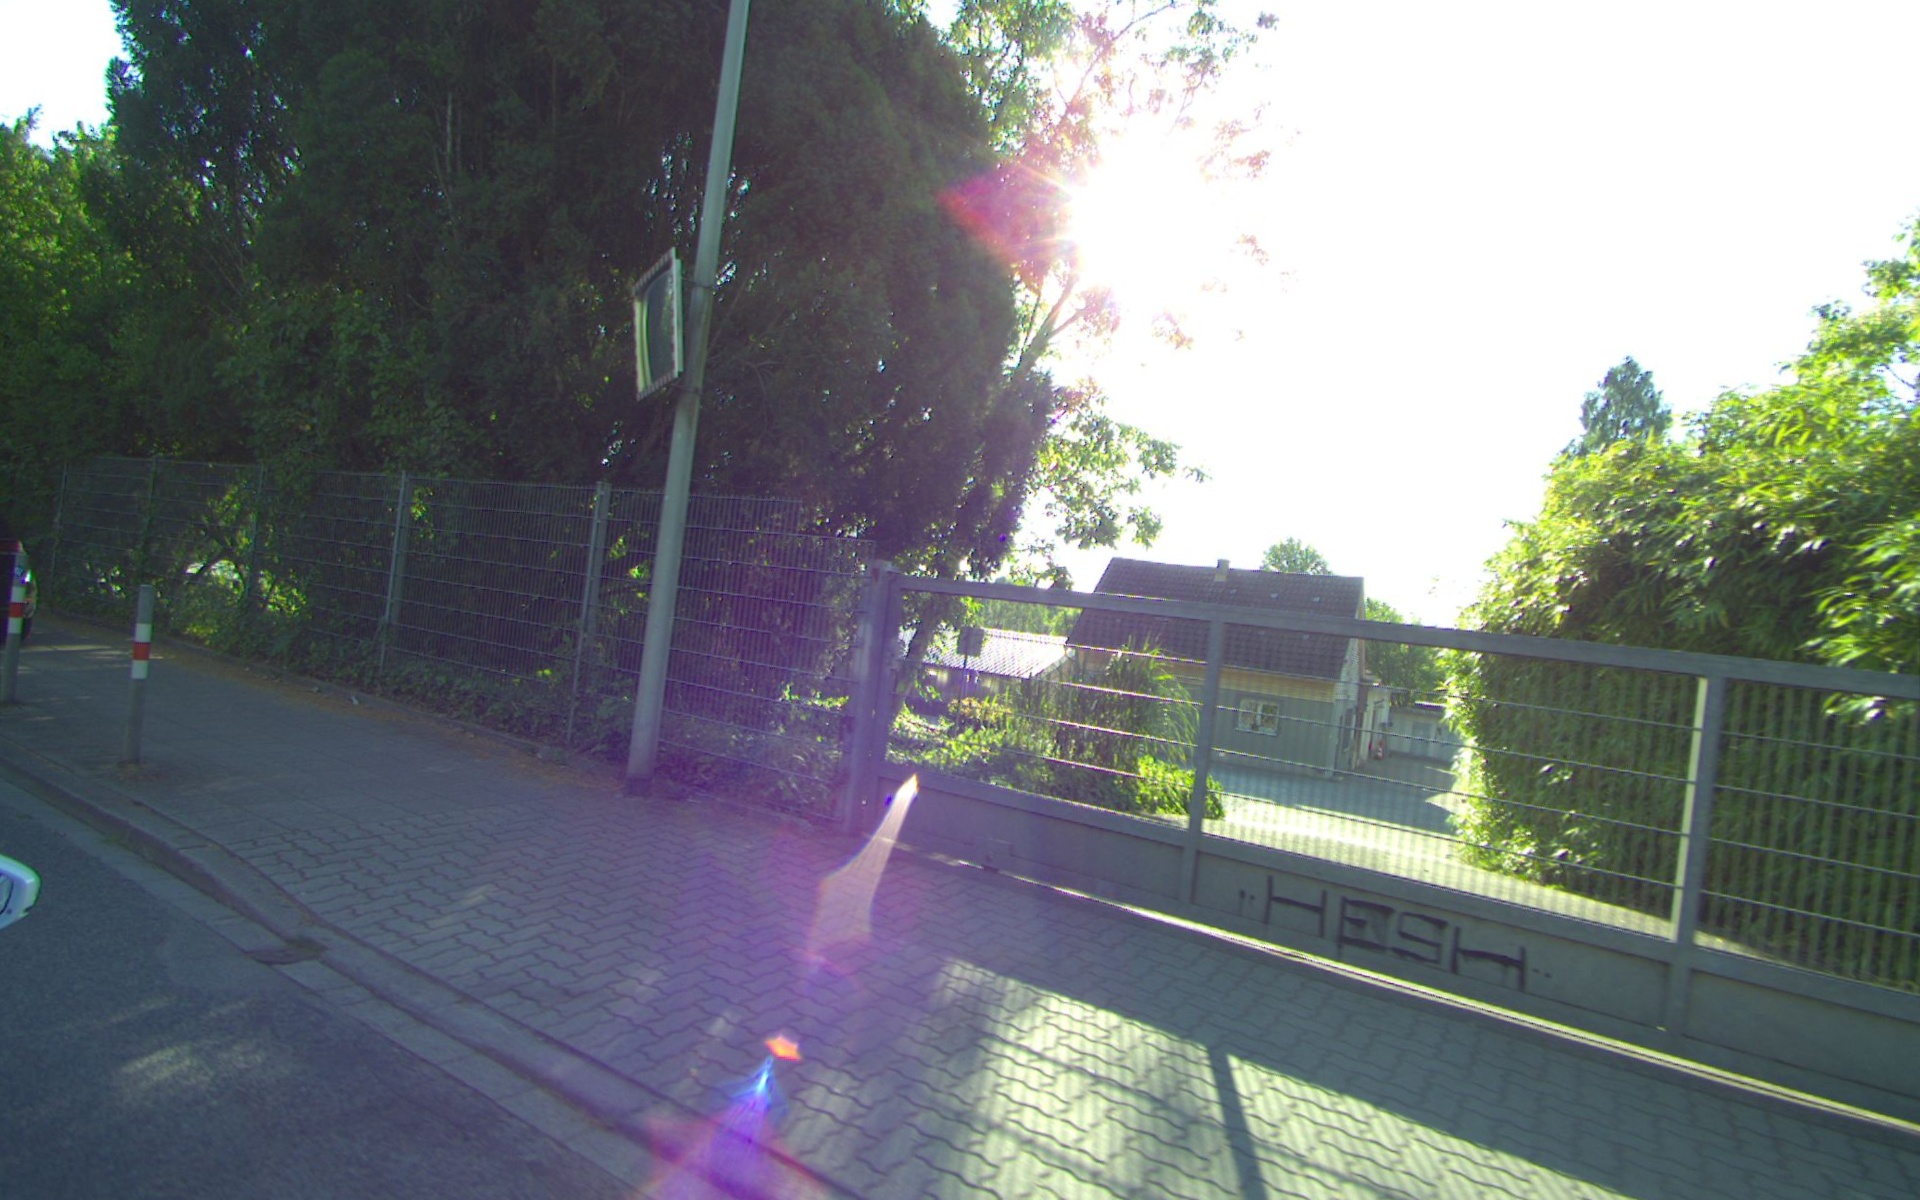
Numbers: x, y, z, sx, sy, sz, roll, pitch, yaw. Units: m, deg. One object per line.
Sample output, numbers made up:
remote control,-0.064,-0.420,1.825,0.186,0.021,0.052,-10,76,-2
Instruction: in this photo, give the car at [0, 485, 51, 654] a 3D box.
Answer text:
car,-10.214,-0.476,9.141,3.931,1.450,1.688,7,1,29
